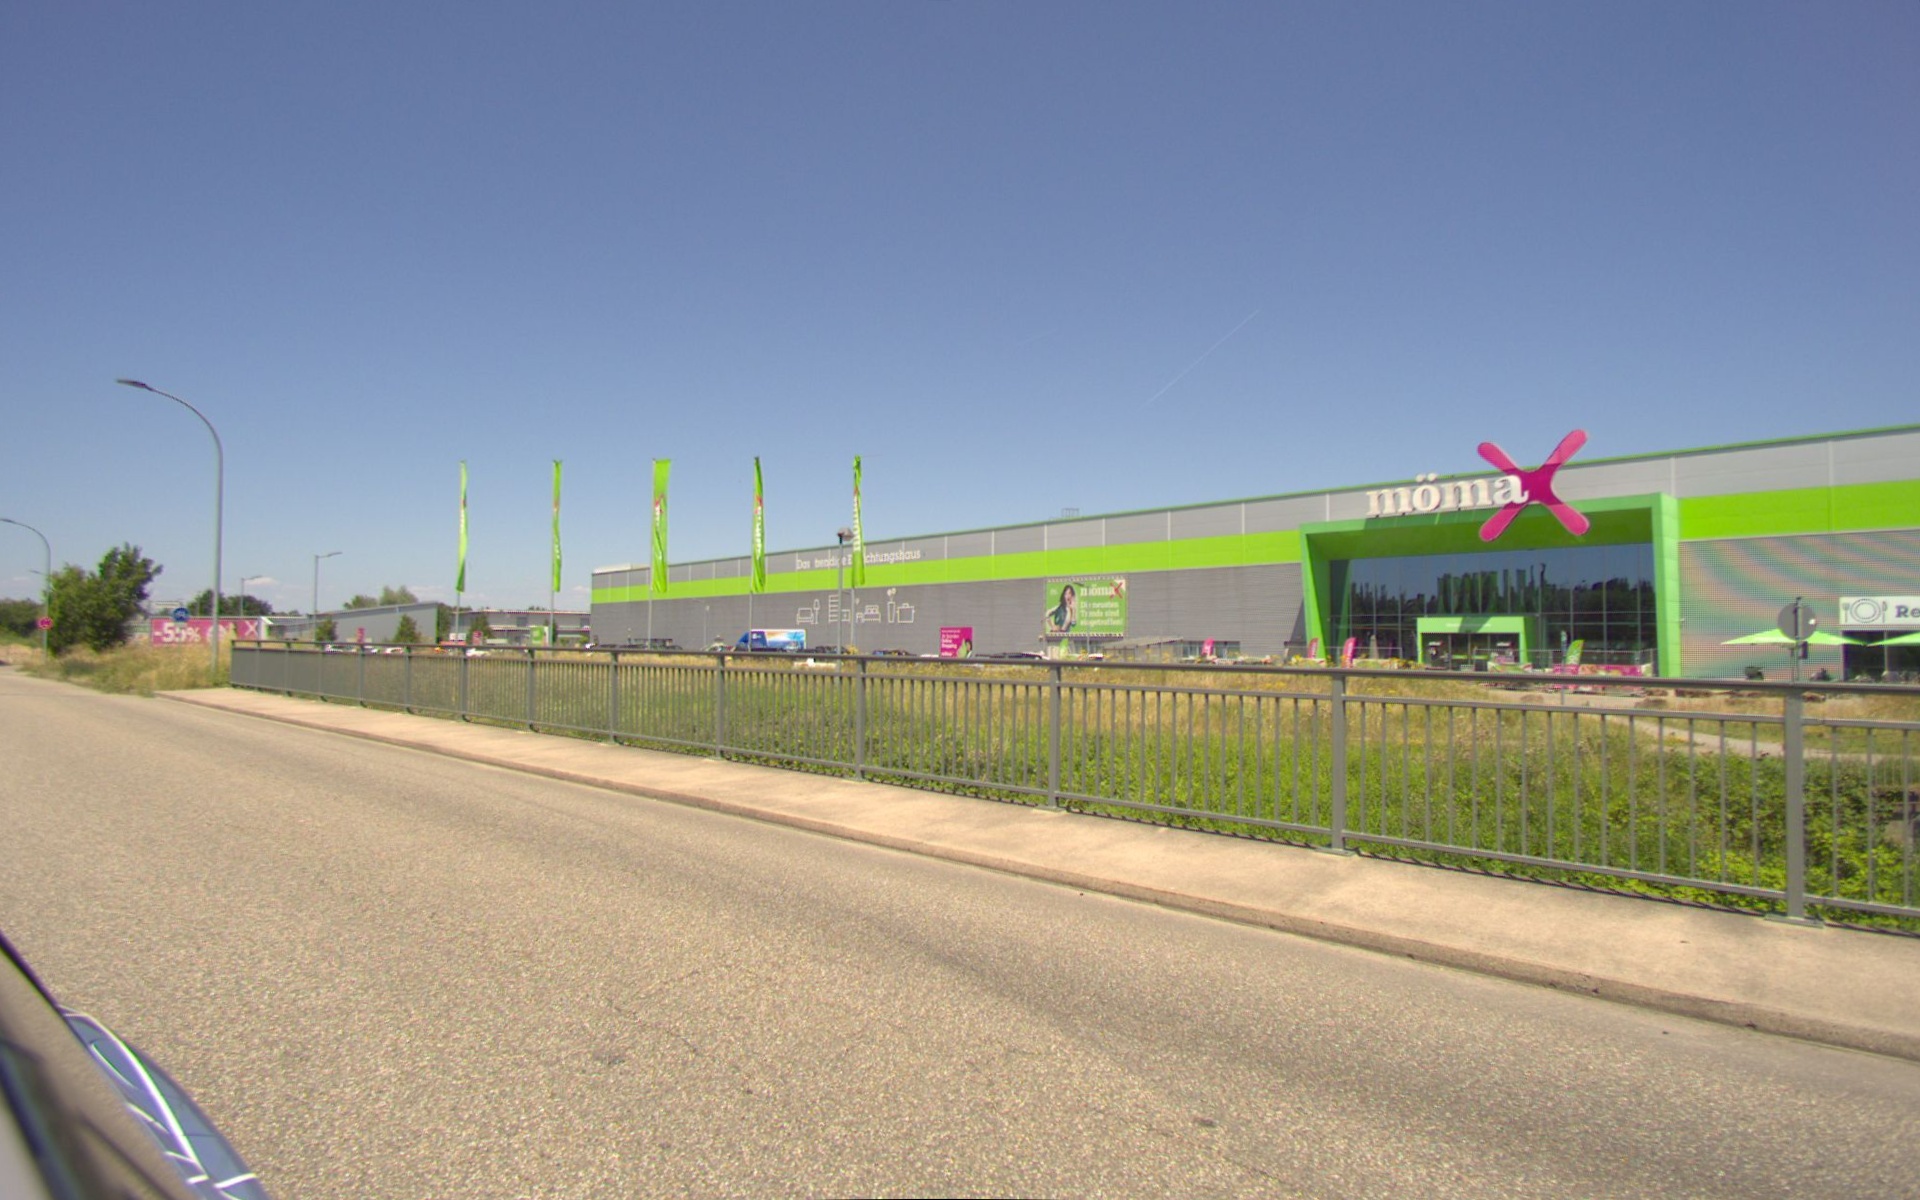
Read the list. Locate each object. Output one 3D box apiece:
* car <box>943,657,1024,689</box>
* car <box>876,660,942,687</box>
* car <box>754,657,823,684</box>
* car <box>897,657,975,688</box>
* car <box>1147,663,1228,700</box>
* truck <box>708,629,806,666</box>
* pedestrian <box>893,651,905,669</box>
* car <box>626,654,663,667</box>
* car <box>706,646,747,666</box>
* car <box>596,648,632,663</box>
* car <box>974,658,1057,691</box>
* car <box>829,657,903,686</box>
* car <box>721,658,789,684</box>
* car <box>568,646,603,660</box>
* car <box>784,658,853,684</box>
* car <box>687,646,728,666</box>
[{"bbox_3d":[1.248,3.780,52.675,2.001,1.420,3.942,-4,-3,44],"label":"car"},{"bbox_3d":[-3.244,4.693,64.973,2.001,1.524,3.942,-4,-3,44],"label":"car"},{"bbox_3d":[-10.971,4.519,64.817,2.001,1.524,3.942,-4,-3,44],"label":"car"},{"bbox_3d":[-1.269,3.927,54.920,2.001,1.455,3.942,-4,-3,44],"label":"car"},{"bbox_3d":[10.997,3.892,48.845,2.001,1.524,3.942,-4,-3,44],"label":"car"},{"bbox_3d":[-16.454,3.878,82.429,7.650,2.704,2.968,-1,-3,-10],"label":"truck"},{"bbox_3d":[-5.107,5.008,84.914,0.766,1.463,0.630,-4,-3,42],"label":"pedestrian"},{"bbox_3d":[-38.856,7.403,124.783,3.939,1.534,2.002,2,-5,-43],"label":"car"},{"bbox_3d":[-25.605,6.111,110.805,3.940,2.029,1.912,0,-3,-44],"label":"car"},{"bbox_3d":[-44.116,7.099,129.086,3.940,1.752,2.002,0,-2,-44],"label":"car"},{"bbox_3d":[2.793,3.657,50.340,2.001,1.427,3.942,-4,-3,44],"label":"car"},{"bbox_3d":[-5.461,4.160,59.284,2.001,1.524,3.942,-4,-3,44],"label":"car"},{"bbox_3d":[-13.616,4.705,67.308,2.001,1.478,3.942,-4,-3,44],"label":"car"},{"bbox_3d":[-49.640,7.020,134.176,3.940,1.752,2.002,0,-2,-44],"label":"car"},{"bbox_3d":[-8.804,4.415,63.151,1.847,1.448,3.942,-4,-3,44],"label":"car"},{"bbox_3d":[-28.098,6.238,112.772,3.936,2.029,1.915,0,-3,-38],"label":"car"}]
